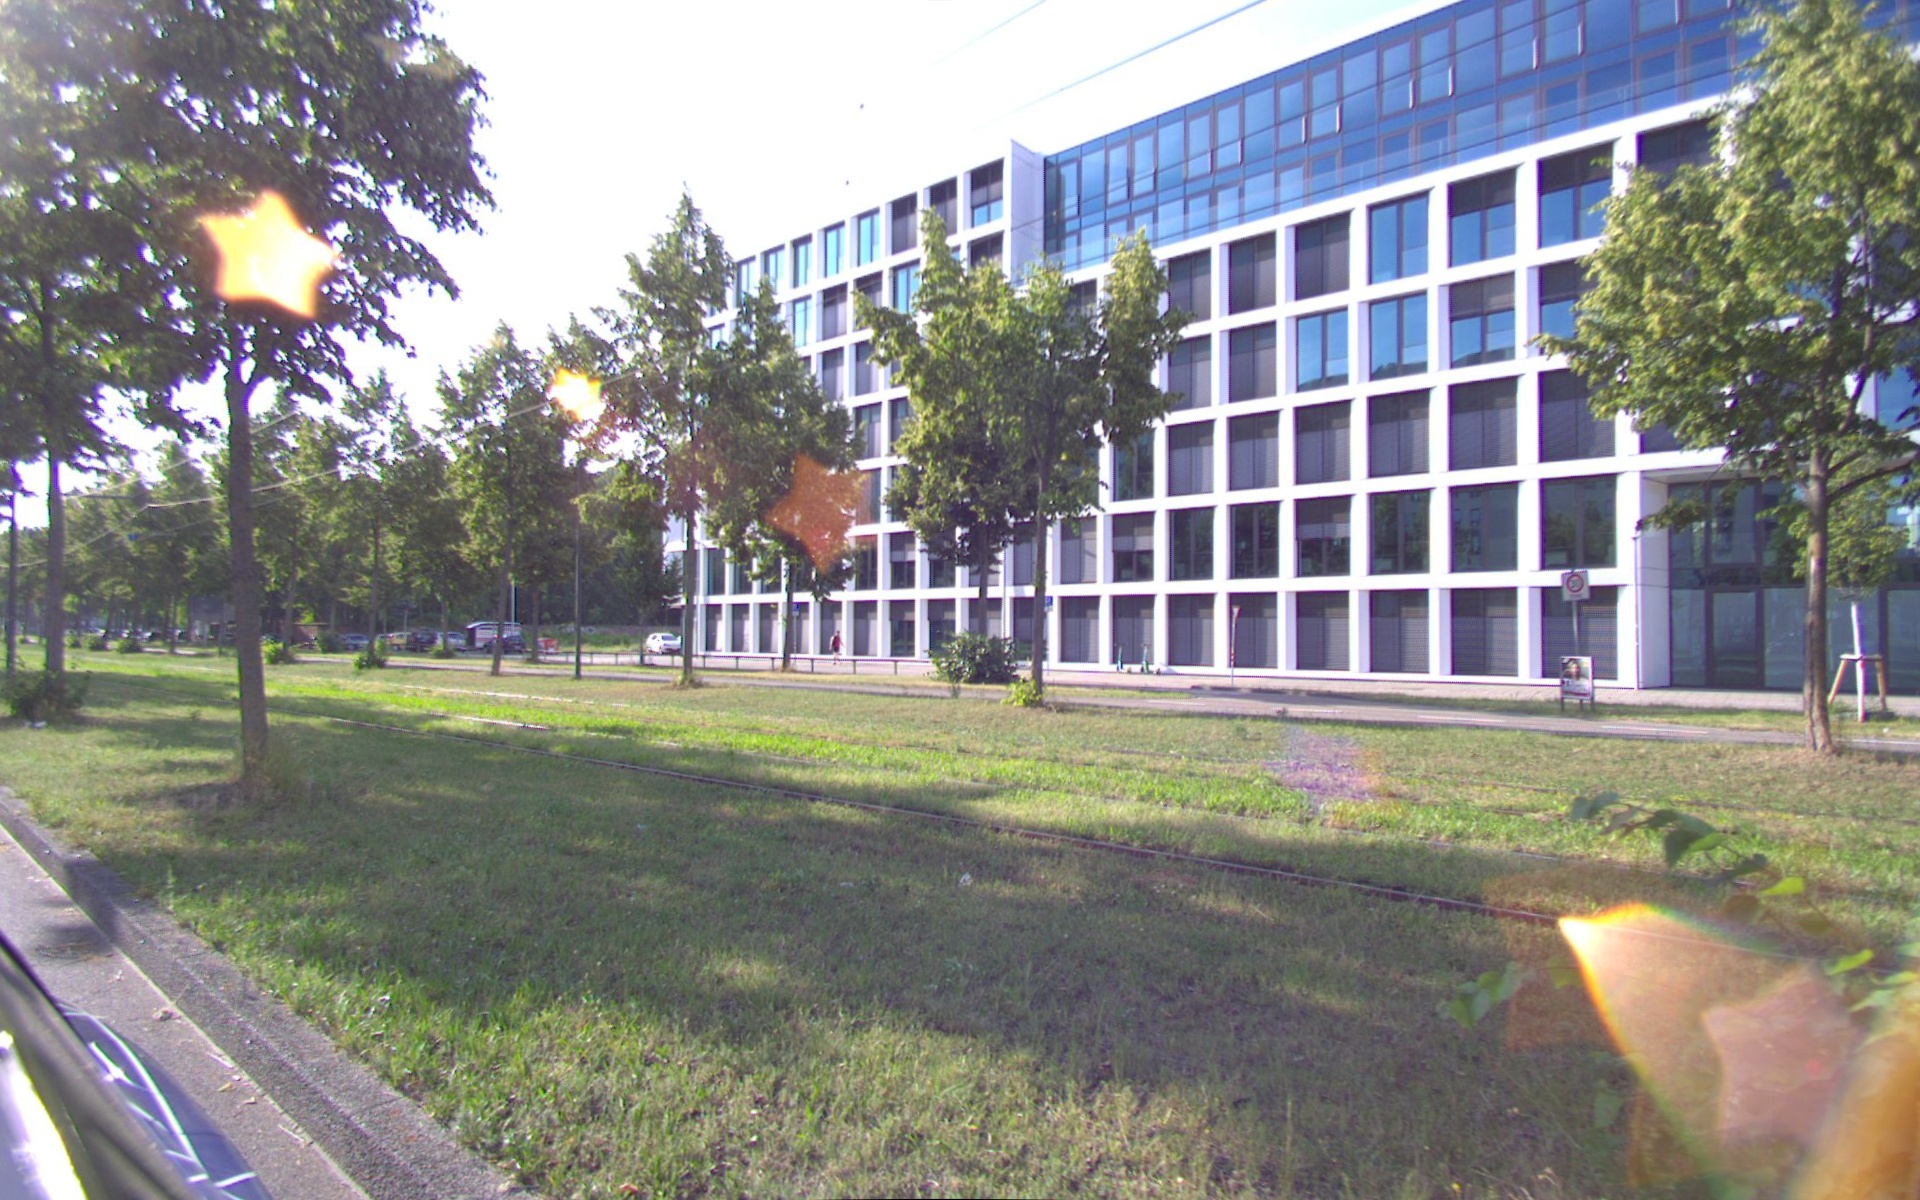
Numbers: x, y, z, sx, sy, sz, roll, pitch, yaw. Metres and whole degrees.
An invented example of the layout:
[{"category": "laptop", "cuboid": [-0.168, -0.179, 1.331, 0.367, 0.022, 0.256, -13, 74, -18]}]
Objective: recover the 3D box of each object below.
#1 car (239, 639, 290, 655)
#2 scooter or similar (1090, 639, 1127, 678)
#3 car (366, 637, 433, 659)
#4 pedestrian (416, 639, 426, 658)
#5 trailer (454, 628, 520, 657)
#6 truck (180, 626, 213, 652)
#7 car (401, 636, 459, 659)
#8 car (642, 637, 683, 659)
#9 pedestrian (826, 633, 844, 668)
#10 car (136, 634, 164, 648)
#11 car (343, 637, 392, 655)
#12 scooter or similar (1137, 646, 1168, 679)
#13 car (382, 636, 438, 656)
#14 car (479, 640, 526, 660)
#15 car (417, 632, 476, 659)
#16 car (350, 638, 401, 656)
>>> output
[{"category": "car", "cuboid": [-65.842, 4.468, 95.791, 3.990, 1.446, 1.682, -1, 0, 10]}, {"category": "scooter or similar", "cuboid": [6.069, 2.380, 41.316, 0.415, 1.488, 1.907, -1, 0, 44]}, {"category": "car", "cuboid": [-50.652, 4.287, 91.478, 1.886, 1.748, 5.004, -1, 0, 43]}, {"category": "pedestrian", "cuboid": [-43.138, 3.911, 80.988, 0.568, 1.491, 0.516, -1, 0, 40]}, {"category": "trailer", "cuboid": [-36.819, 3.285, 78.892, 1.758, 2.069, 4.315, -1, 0, 44]}, {"category": "truck", "cuboid": [-110.367, 5.606, 146.233, 2.855, 3.542, 7.950, -1, 0, -44]}, {"category": "car", "cuboid": [-44.039, 3.921, 84.124, 1.757, 1.655, 3.950, -1, 0, 41]}, {"category": "car", "cuboid": [-23.718, 3.805, 80.619, 1.824, 1.608, 4.008, -1, 0, -38]}, {"category": "pedestrian", "cuboid": [-6.458, 2.602, 52.373, 0.691, 1.741, 0.561, -1, 0, 41]}, {"category": "car", "cuboid": [-93.444, 4.690, 116.740, 4.474, 1.442, 1.811, -1, 0, 42]}, {"category": "car", "cuboid": [-57.602, 4.471, 98.436, 3.811, 1.497, 1.746, -1, 0, -42]}, {"category": "scooter or similar", "cuboid": [7.654, 2.478, 40.248, 0.331, 1.235, 1.302, -1, 0, -36]}, {"category": "car", "cuboid": [-48.803, 4.041, 89.837, 1.856, 1.572, 3.943, -1, 0, 43]}, {"category": "car", "cuboid": [-34.319, 3.730, 75.931, 3.756, 1.404, 1.663, -1, 0, 38]}, {"category": "car", "cuboid": [-41.626, 3.653, 82.105, 1.757, 1.962, 3.950, -1, 0, 41]}, {"category": "car", "cuboid": [-53.382, 4.309, 92.459, 1.810, 1.439, 3.607, -1, 0, 43]}]
